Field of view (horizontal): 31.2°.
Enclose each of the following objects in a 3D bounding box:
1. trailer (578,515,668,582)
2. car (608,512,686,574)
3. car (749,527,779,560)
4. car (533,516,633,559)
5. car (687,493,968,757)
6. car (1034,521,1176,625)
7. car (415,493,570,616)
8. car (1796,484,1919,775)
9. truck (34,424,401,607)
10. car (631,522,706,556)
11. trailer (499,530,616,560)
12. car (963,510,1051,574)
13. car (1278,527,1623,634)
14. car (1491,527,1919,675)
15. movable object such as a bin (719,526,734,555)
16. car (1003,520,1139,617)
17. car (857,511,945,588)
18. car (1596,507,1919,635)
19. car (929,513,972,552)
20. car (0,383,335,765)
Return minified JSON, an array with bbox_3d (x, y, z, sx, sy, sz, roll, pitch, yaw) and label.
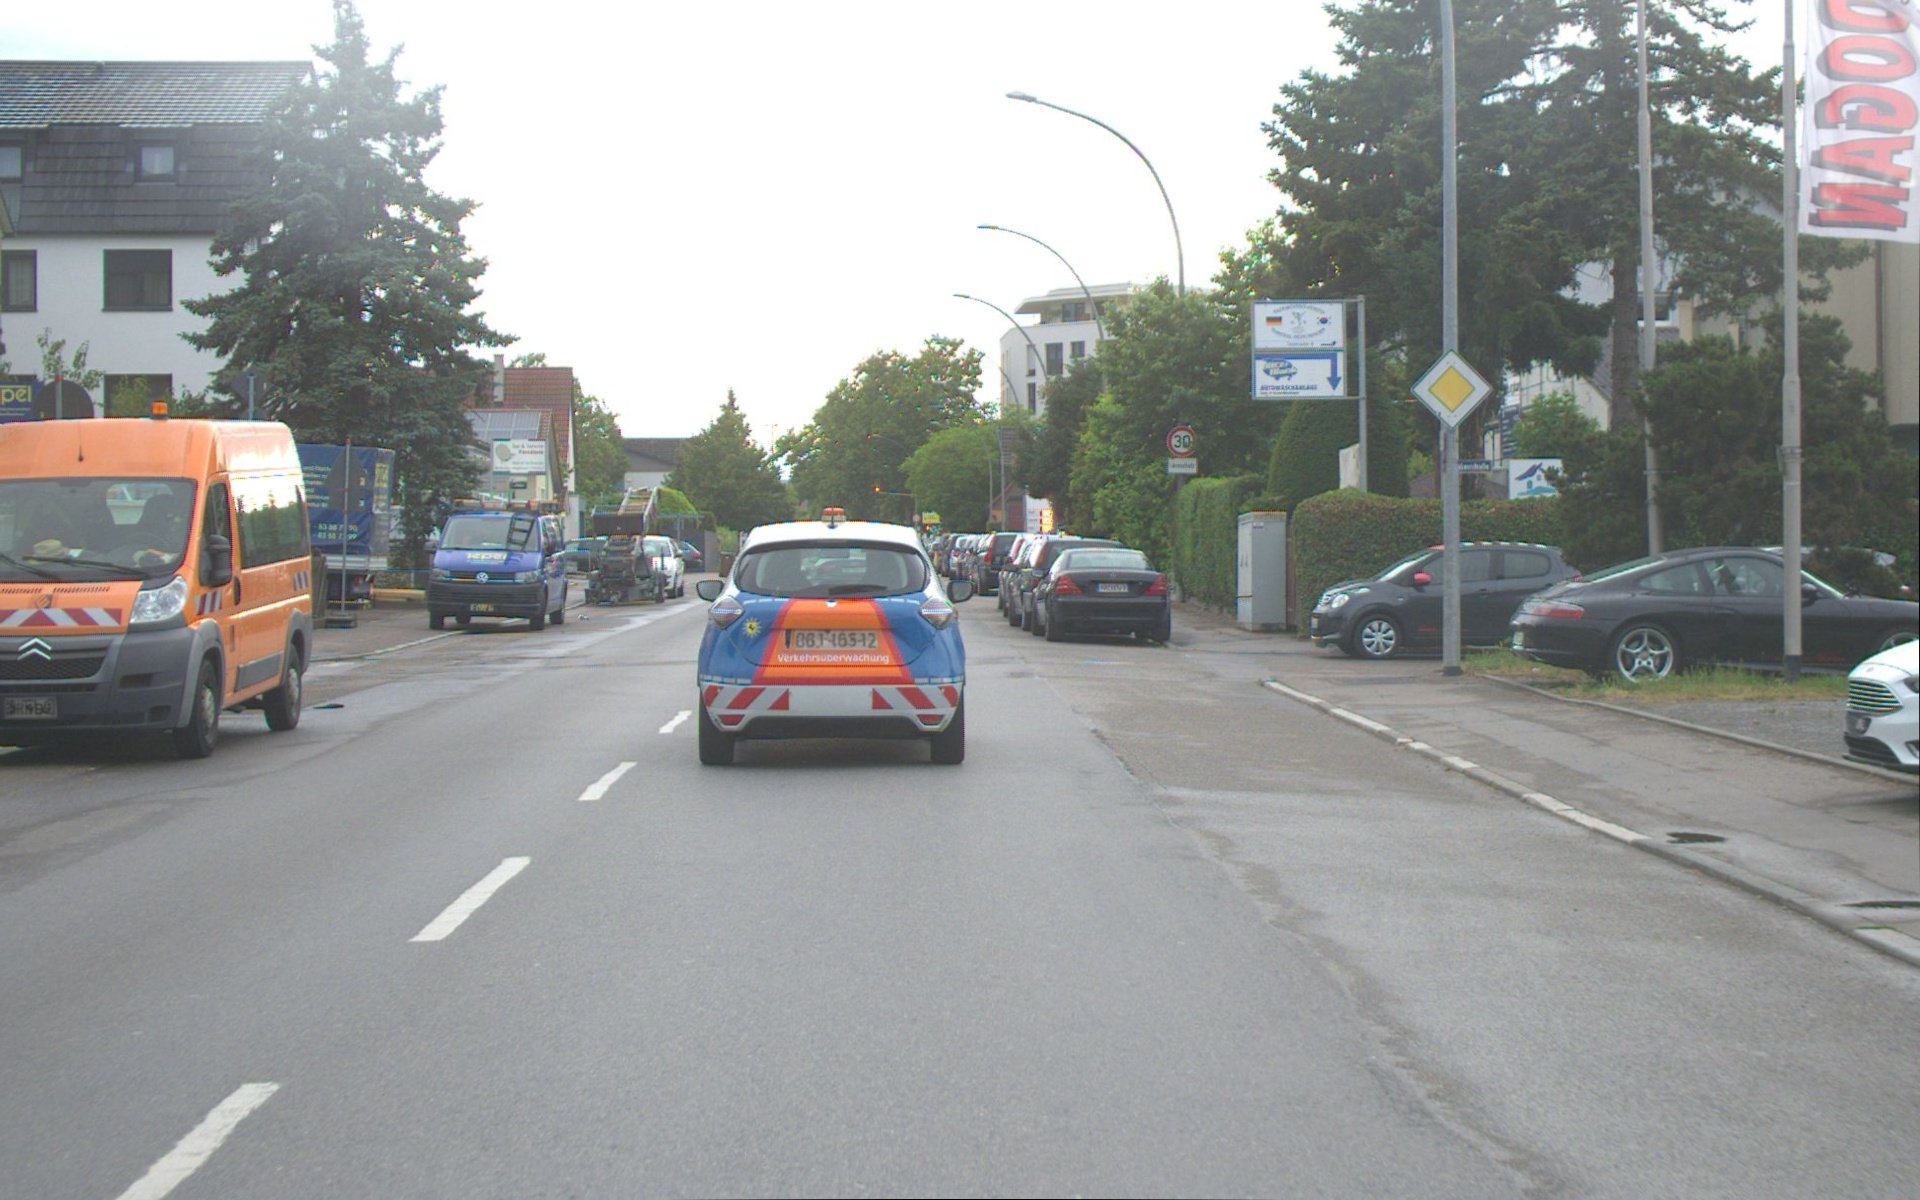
[{"bbox_3d":[-7.356,-1.154,75.468,1.717,1.256,5.246,1,3,-3],"label":"trailer"},{"bbox_3d":[-7.519,-1.377,82.876,1.557,1.428,4.000,1,1,-1],"label":"car"},{"bbox_3d":[-9.197,-2.662,161.483,1.386,1.478,3.784,0,1,-3],"label":"car"},{"bbox_3d":[-13.755,-2.282,125.533,3.579,1.521,1.656,1,1,-5],"label":"car"},{"bbox_3d":[-0.880,0.126,23.072,1.731,1.625,3.495,0,1,-2],"label":"car"},{"bbox_3d":[2.010,-0.415,48.597,1.589,1.336,4.093,2,1,-3],"label":"car"},{"bbox_3d":[-7.753,-0.771,57.432,1.993,1.940,5.366,0,1,-2],"label":"car"},{"bbox_3d":[6.895,0.151,18.389,4.337,1.470,1.903,0,1,-2],"label":"car"},{"bbox_3d":[-13.023,-1.478,60.636,5.911,3.063,2.450,1,1,0],"label":"truck"},{"bbox_3d":[-12.932,-2.710,152.405,3.281,1.443,1.480,-2,2,-5],"label":"car"},{"bbox_3d":[-14.389,-1.968,123.062,4.022,0.991,1.655,1,1,-2],"label":"trailer"},{"bbox_3d":[1.069,-1.361,80.655,1.711,1.433,4.527,1,1,-3],"label":"car"},{"bbox_3d":[6.126,-0.255,43.254,3.986,1.262,1.951,1,1,-2],"label":"car"},{"bbox_3d":[7.027,-0.005,31.589,3.987,1.262,1.951,1,1,1],"label":"car"},{"bbox_3d":[-9.951,-2.539,146.476,0.579,1.200,0.319,1,1,-1],"label":"movable object such as a bin"},{"bbox_3d":[1.672,-0.504,53.243,1.656,1.414,4.778,1,1,-3],"label":"car"},{"bbox_3d":[-1.227,-1.037,70.288,1.650,1.516,4.001,1,1,-3],"label":"car"},{"bbox_3d":[10.065,-0.375,43.508,3.614,1.533,1.860,1,1,-2],"label":"car"},{"bbox_3d":[-0.430,-2.954,150.843,1.650,1.666,4.001,1,1,-3],"label":"car"},{"bbox_3d":[-6.362,-0.243,26.248,2.124,2.529,6.023,-2,2,-1],"label":"car"}]
